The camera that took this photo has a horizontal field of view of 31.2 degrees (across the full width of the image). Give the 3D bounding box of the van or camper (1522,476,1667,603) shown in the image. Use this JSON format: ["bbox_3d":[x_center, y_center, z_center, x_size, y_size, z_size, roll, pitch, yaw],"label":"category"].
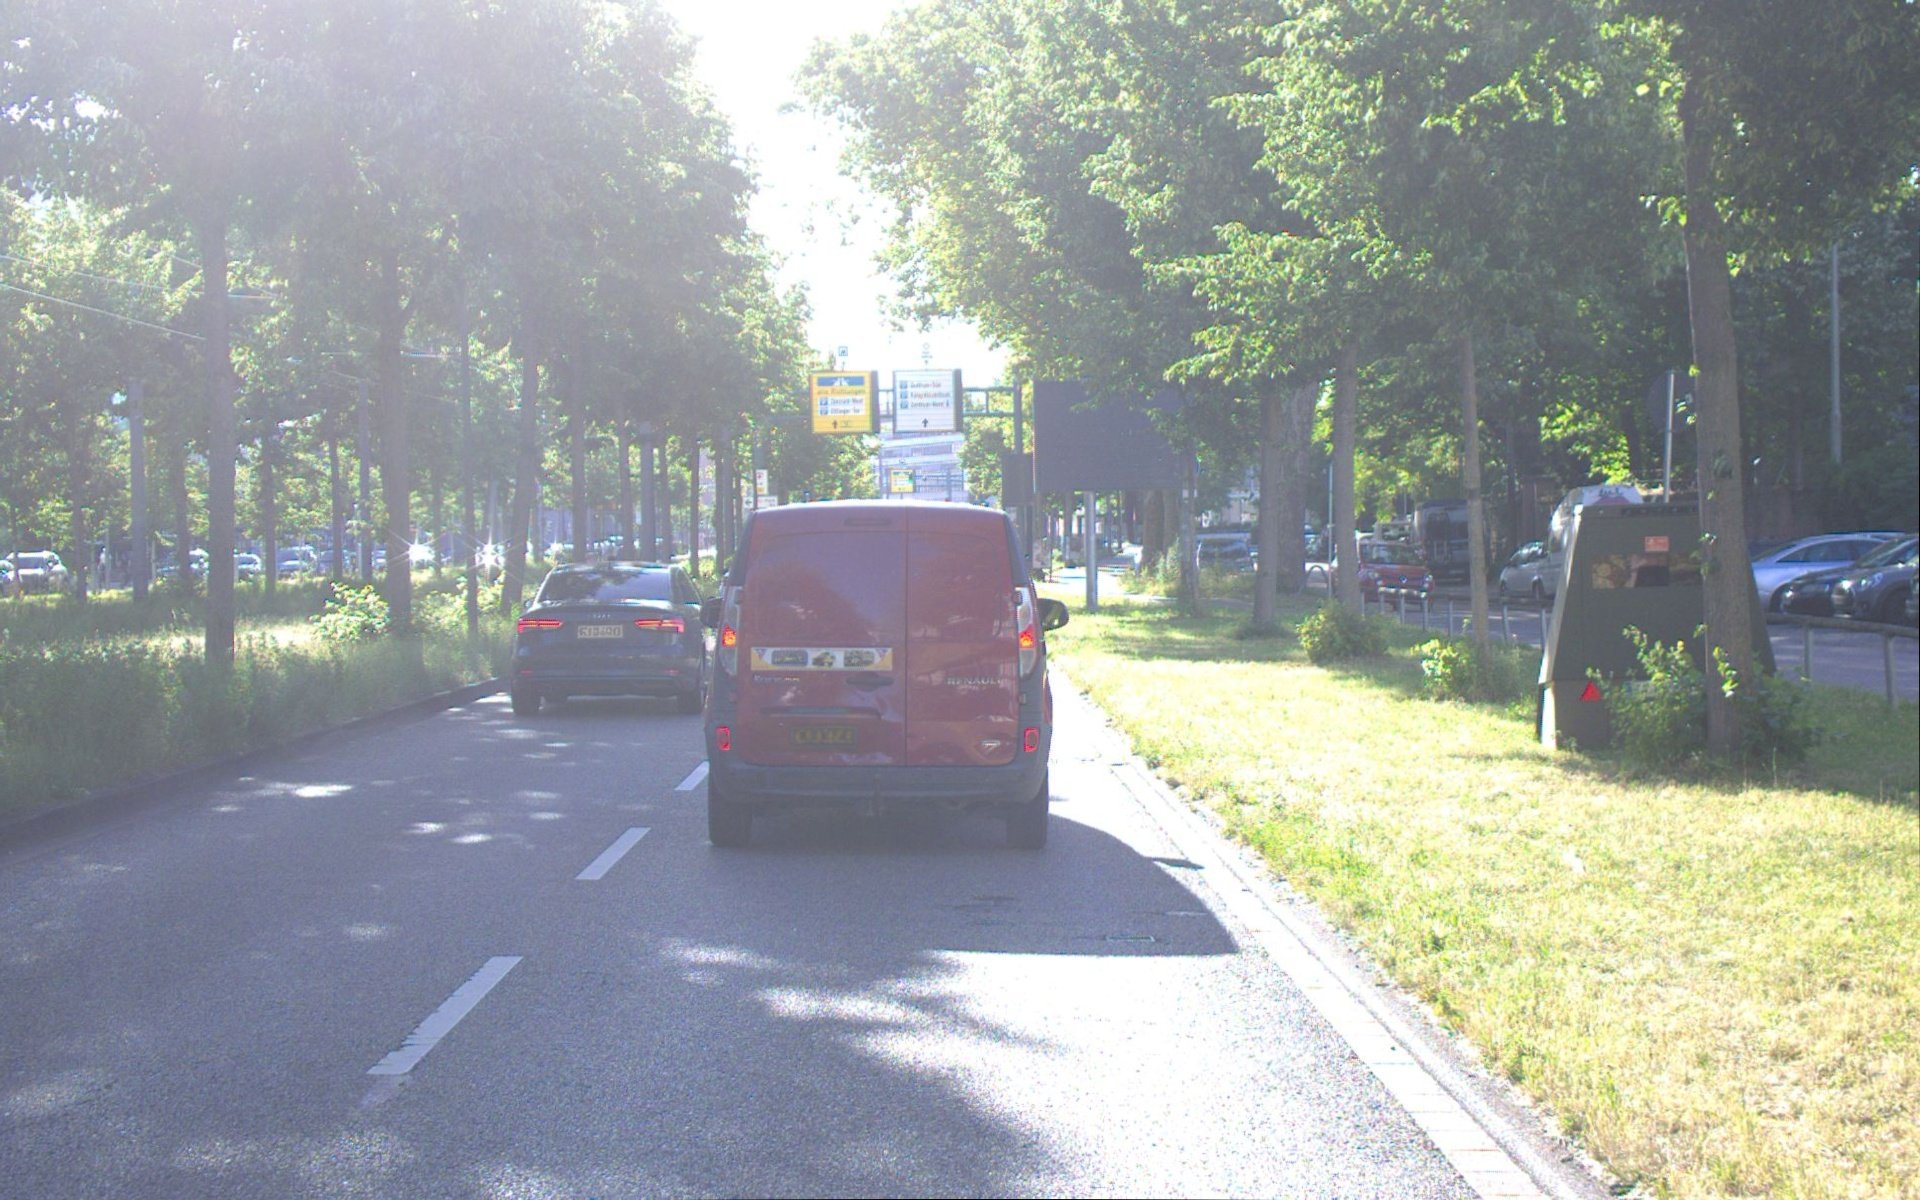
[{"bbox_3d":[14.498,-1.371,78.842,1.993,2.722,4.965,-3,1,-3],"label":"van or camper"}]

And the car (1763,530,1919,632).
[{"bbox_3d":[15.562,-0.362,56.214,4.327,1.473,1.907,-3,2,-3],"label":"car"}]

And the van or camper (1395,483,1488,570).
[{"bbox_3d":[15.917,-2.456,114.034,2.557,2.675,6.564,-3,1,5],"label":"van or camper"}]

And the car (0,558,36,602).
[{"bbox_3d":[-32.354,-0.676,114.503,1.958,1.436,4.265,1,1,0],"label":"car"}]

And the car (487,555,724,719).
[{"bbox_3d":[-3.274,0.306,32.417,1.792,1.423,4.000,1,1,0],"label":"car"}]

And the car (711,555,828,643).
[{"bbox_3d":[-3.626,-0.030,66.060,1.993,1.612,4.000,1,1,0],"label":"car"}]

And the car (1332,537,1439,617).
[{"bbox_3d":[9.118,-0.495,73.918,1.994,1.634,4.000,1,1,3],"label":"car"}]

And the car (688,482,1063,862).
[{"bbox_3d":[-0.516,0.335,18.832,1.808,1.831,4.001,1,0,-3],"label":"car"}]

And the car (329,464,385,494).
[{"bbox_3d":[-29.753,-5.949,169.742,1.912,1.321,4.611,1,1,1],"label":"car"}]

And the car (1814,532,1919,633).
[{"bbox_3d":[15.541,-0.318,53.120,4.190,1.493,1.782,-2,1,-3],"label":"car"}]

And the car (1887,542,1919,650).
[{"bbox_3d":[15.162,-0.137,47.727,4.080,1.463,1.715,-2,0,1],"label":"car"}]

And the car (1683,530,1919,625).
[{"bbox_3d":[15.678,-0.438,62.119,4.719,1.401,2.000,-4,1,0],"label":"car"}]

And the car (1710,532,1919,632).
[{"bbox_3d":[15.347,-0.356,59.183,4.381,1.406,2.000,-5,1,3],"label":"car"}]

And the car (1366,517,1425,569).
[{"bbox_3d":[17.291,-2.255,136.615,2.087,2.007,4.942,0,1,5],"label":"car"}]

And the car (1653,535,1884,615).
[{"bbox_3d":[15.693,-0.503,66.821,3.986,1.499,1.766,-1,1,-6],"label":"car"}]

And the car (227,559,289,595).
[{"bbox_3d":[-32.657,-1.089,159.968,1.879,1.615,4.611,1,1,1],"label":"car"}]

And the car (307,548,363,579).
[{"bbox_3d":[-33.036,-1.915,181.820,1.993,1.603,4.611,1,1,1],"label":"car"}]
